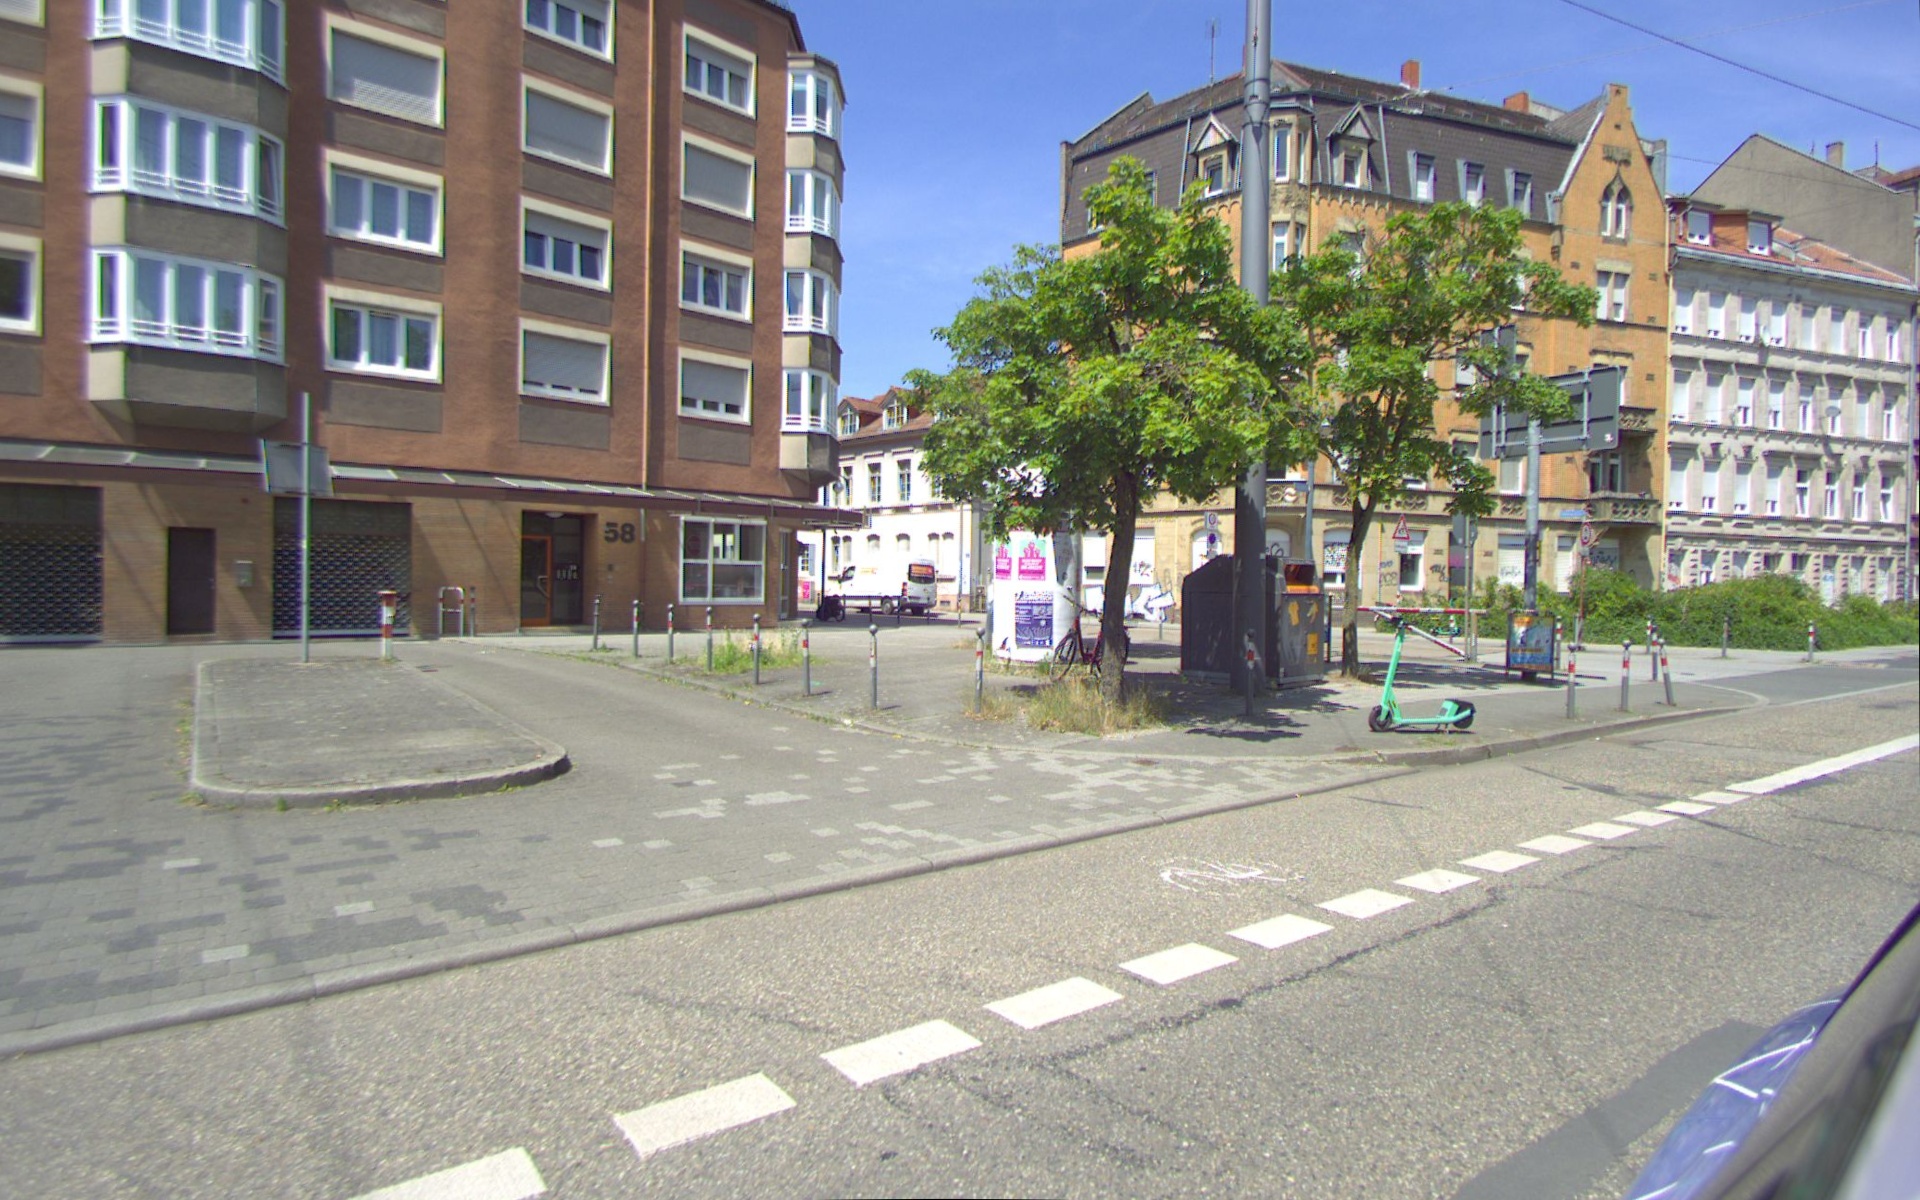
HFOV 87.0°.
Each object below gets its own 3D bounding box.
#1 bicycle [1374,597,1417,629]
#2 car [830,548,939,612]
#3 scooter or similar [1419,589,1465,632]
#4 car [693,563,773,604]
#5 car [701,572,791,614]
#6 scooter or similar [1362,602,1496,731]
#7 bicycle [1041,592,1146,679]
[{"bbox_3d":[13.898,0.394,32.291,1.458,1.005,0.491,0,0,-29],"label":"bicycle"},{"bbox_3d":[-3.377,-0.866,44.349,1.966,2.655,5.208,0,0,-42],"label":"car"},{"bbox_3d":[14.176,0.296,29.754,1.458,1.220,0.491,0,0,-29],"label":"scooter or similar"},{"bbox_3d":[-11.981,-0.838,53.226,1.966,2.061,4.819,0,0,-42],"label":"car"},{"bbox_3d":[-8.405,-0.286,39.608,3.821,1.538,1.585,1,0,44],"label":"car"},{"bbox_3d":[4.783,0.673,10.335,1.155,1.228,0.393,3,3,-14],"label":"scooter or similar"},{"bbox_3d":[1.905,0.476,14.332,1.679,1.167,0.487,0,0,-41],"label":"bicycle"}]
